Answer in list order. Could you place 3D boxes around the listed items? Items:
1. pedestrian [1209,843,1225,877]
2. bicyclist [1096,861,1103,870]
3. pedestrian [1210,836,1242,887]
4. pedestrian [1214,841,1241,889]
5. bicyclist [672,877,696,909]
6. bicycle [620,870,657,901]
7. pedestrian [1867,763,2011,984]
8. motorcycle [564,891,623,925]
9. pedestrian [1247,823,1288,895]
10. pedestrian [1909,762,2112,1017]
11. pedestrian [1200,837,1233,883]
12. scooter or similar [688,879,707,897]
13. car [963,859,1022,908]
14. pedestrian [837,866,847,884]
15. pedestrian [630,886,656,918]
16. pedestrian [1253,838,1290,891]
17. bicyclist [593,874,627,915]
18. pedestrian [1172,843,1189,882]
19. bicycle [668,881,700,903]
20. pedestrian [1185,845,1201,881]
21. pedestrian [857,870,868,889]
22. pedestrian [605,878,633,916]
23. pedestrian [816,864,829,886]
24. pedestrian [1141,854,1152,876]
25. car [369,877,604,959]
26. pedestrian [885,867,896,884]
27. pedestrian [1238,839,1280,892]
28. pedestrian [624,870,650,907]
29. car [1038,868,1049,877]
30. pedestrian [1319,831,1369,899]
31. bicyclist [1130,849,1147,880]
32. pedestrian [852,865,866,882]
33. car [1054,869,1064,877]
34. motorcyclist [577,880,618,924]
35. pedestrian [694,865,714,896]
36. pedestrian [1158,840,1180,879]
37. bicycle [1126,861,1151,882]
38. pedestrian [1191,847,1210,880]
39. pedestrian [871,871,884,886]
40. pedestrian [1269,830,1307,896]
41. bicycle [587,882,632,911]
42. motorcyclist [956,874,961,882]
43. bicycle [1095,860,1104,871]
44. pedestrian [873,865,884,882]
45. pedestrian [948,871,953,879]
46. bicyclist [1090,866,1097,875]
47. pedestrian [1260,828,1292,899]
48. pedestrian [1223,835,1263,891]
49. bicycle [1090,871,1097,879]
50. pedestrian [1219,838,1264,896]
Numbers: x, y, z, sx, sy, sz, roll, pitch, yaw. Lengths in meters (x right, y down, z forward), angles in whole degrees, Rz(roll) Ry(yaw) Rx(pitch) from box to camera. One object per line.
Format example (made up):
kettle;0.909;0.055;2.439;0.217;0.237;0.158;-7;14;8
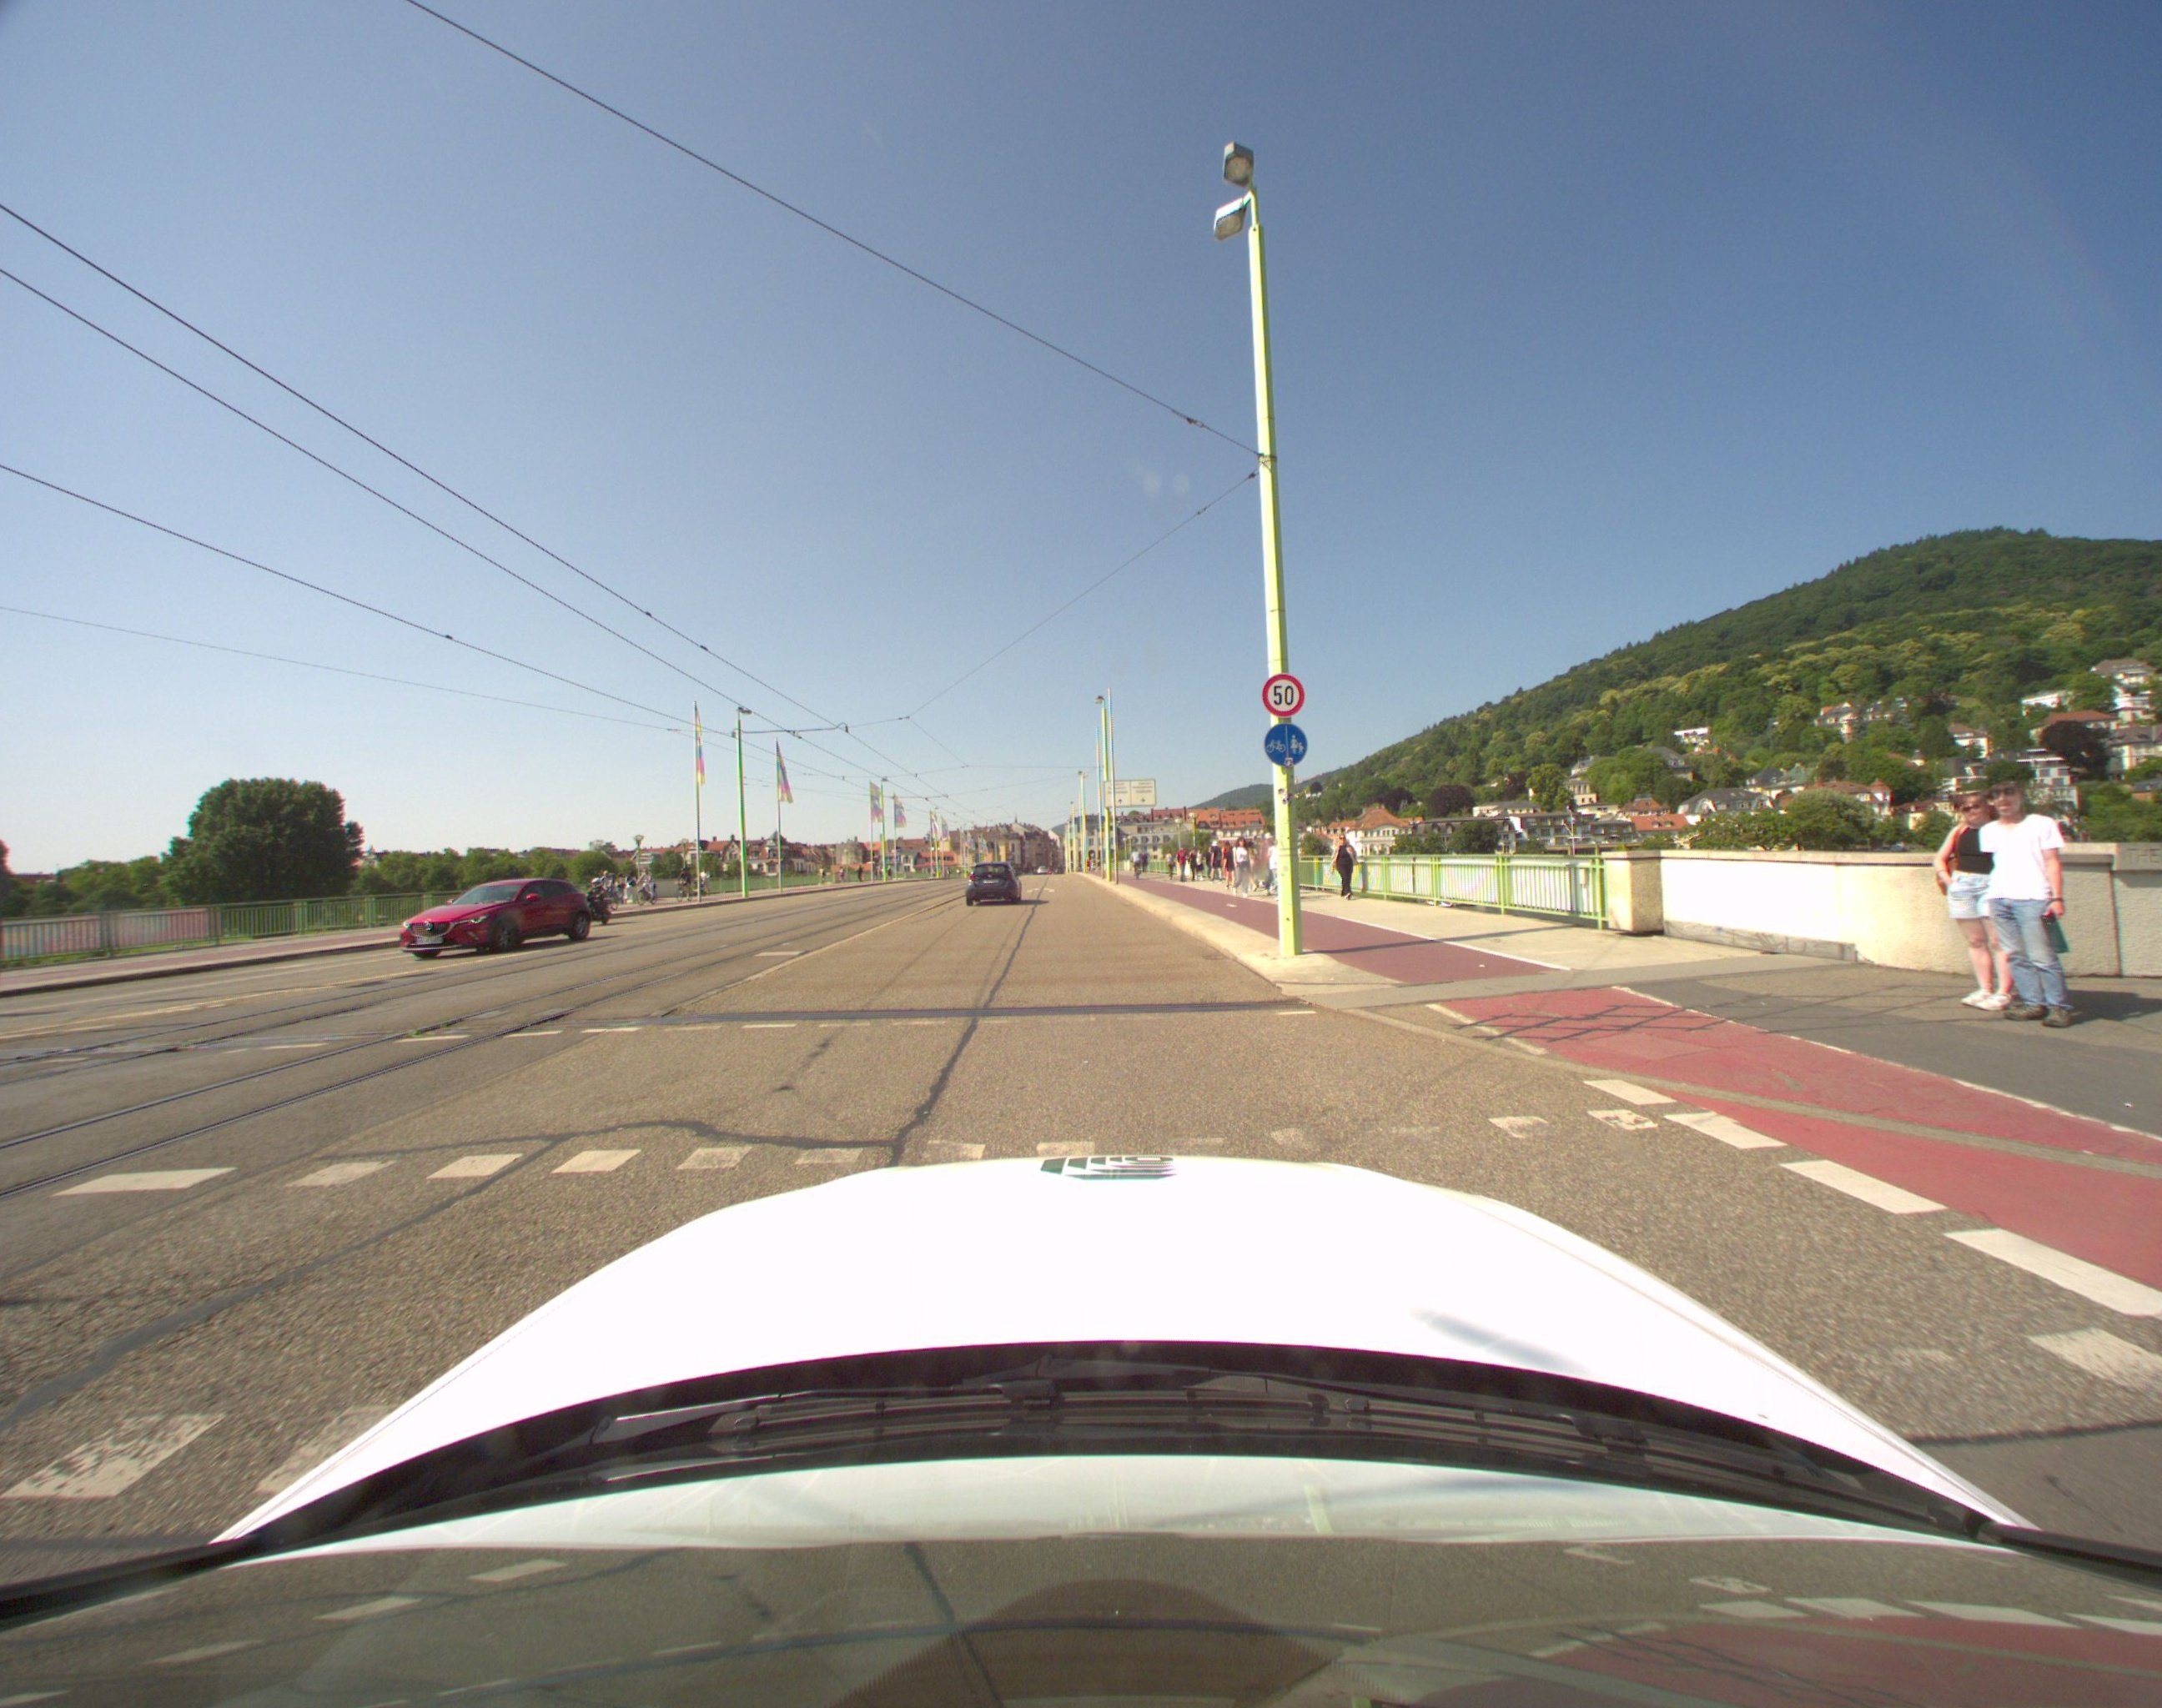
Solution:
pedestrian;6.579;0.303;39.424;0.648;1.631;0.691;-1;-1;-2
bicyclist;2.075;1.312;91.747;0.666;1.045;0.977;-1;-1;-8
pedestrian;5.769;0.316;32.434;1.013;1.954;0.937;-2;-2;-5
pedestrian;5.178;0.385;28.803;0.654;1.650;0.866;-2;-2;-8
bicyclist;-20.489;2.007;42.048;0.875;1.609;0.771;-2;-2;-3
bicycle;-21.001;1.491;38.700;0.703;1.400;2.159;2;-1;-5
pedestrian;7.171;0.158;6.831;0.532;1.760;0.577;-1;-1;1
motorcycle;-15.890;1.749;26.608;0.843;1.025;1.949;-1;-1;-3
pedestrian;5.363;0.148;23.458;0.802;2.014;0.951;-2;-2;-8
pedestrian;7.165;0.261;6.317;0.771;1.855;0.644;-2;-1;1
pedestrian;5.824;0.278;35.037;0.984;1.895;1.250;-2;-2;-8
scooter or similar;-22.772;2.042;48.393;0.737;1.030;0.831;1;-1;-5
car;-3.065;0.995;28.755;1.907;1.540;3.993;-1;-1;-5
pedestrian;-23.723;2.062;80.896;0.753;1.722;1.173;-1;-2;-5
pedestrian;-20.710;2.267;38.520;0.741;1.456;0.898;-2;-2;-3
pedestrian;6.235;0.344;26.702;0.833;1.677;0.883;-2;-2;-8
bicyclist;-19.556;1.655;33.811;0.874;1.609;0.772;-3;0;0
pedestrian;4.697;0.414;38.395;0.585;1.793;0.631;-2;-2;-7
bicycle;-20.474;1.948;42.058;0.757;1.114;1.918;-2;-2;-2
pedestrian;5.289;0.421;38.406;0.522;1.649;0.697;-2;-2;-8
pedestrian;-23.472;2.742;87.414;0.968;2.014;1.098;-2;-1;-8
pedestrian;-22.691;2.103;40.036;0.737;1.849;1.119;1;-1;-5
pedestrian;-23.969;1.953;75.474;0.897;2.014;1.040;-2;-1;-5
pedestrian;5.263;0.888;65.307;0.654;1.744;0.975;-2;0;-9
car;-12.805;1.303;17.952;1.986;1.515;4.191;-2;-2;2
pedestrian;-23.097;2.630;98.905;1.095;2.014;1.293;-2;-1;-5
pedestrian;6.275;0.415;28.727;0.984;1.769;1.251;-3;-1;-8
pedestrian;-21.943;1.715;40.247;0.737;1.784;0.956;1;-1;-5
car;-7.056;3.460;151.295;1.801;1.469;3.992;-3;-2;-5
pedestrian;6.572;0.279;20.392;0.798;1.635;0.947;-2;-1;-8
bicyclist;3.332;0.623;47.346;0.672;1.744;1.148;-2;-1;-7
pedestrian;-22.672;1.982;83.201;1.095;1.758;1.293;-1;-1;-5
car;-4.453;3.881;164.950;1.798;1.469;3.999;-4;-2;0
motorcyclist;-15.953;1.560;26.885;0.843;1.402;0.896;-1;-1;-4
pedestrian;-22.824;1.607;49.316;0.737;1.854;0.973;1;-1;-5
pedestrian;4.668;0.325;43.340;0.873;2.014;1.056;-2;-2;-8
bicycle;3.327;1.006;47.425;0.791;1.096;3.736;-3;0;-6
pedestrian;5.780;0.467;39.410;0.649;1.562;0.690;-3;-1;-8
pedestrian;-24.821;2.983;99.294;1.094;1.729;1.295;-6;-3;0
pedestrian;5.529;0.247;21.824;0.695;1.717;0.729;-2;-2;-8
bicycle;-19.544;1.754;33.832;0.756;1.114;1.920;0;0;0
motorcyclist;-24.433;4.748;162.964;0.798;1.549;1.068;-2;-2;-3
bicycle;2.106;1.325;91.477;0.694;1.194;2.074;-2;-2;-6
pedestrian;-24.821;2.348;99.685;1.095;2.014;1.127;-2;-1;-5
pedestrian;-26.372;4.262;164.869;0.828;1.722;1.092;-1;0;-3
bicyclist;1.526;1.980;98.692;0.734;1.031;1.173;-2;-2;-4
pedestrian;5.078;0.256;21.261;0.548;1.799;0.644;-2;-2;-8
pedestrian;5.286;0.299;26.635;0.984;1.750;0.927;-2;-2;-8
bicycle;1.535;2.563;98.841;0.617;1.038;2.048;-2;-2;-4
pedestrian;4.625;0.390;23.515;0.984;1.615;0.919;-2;-2;-8
